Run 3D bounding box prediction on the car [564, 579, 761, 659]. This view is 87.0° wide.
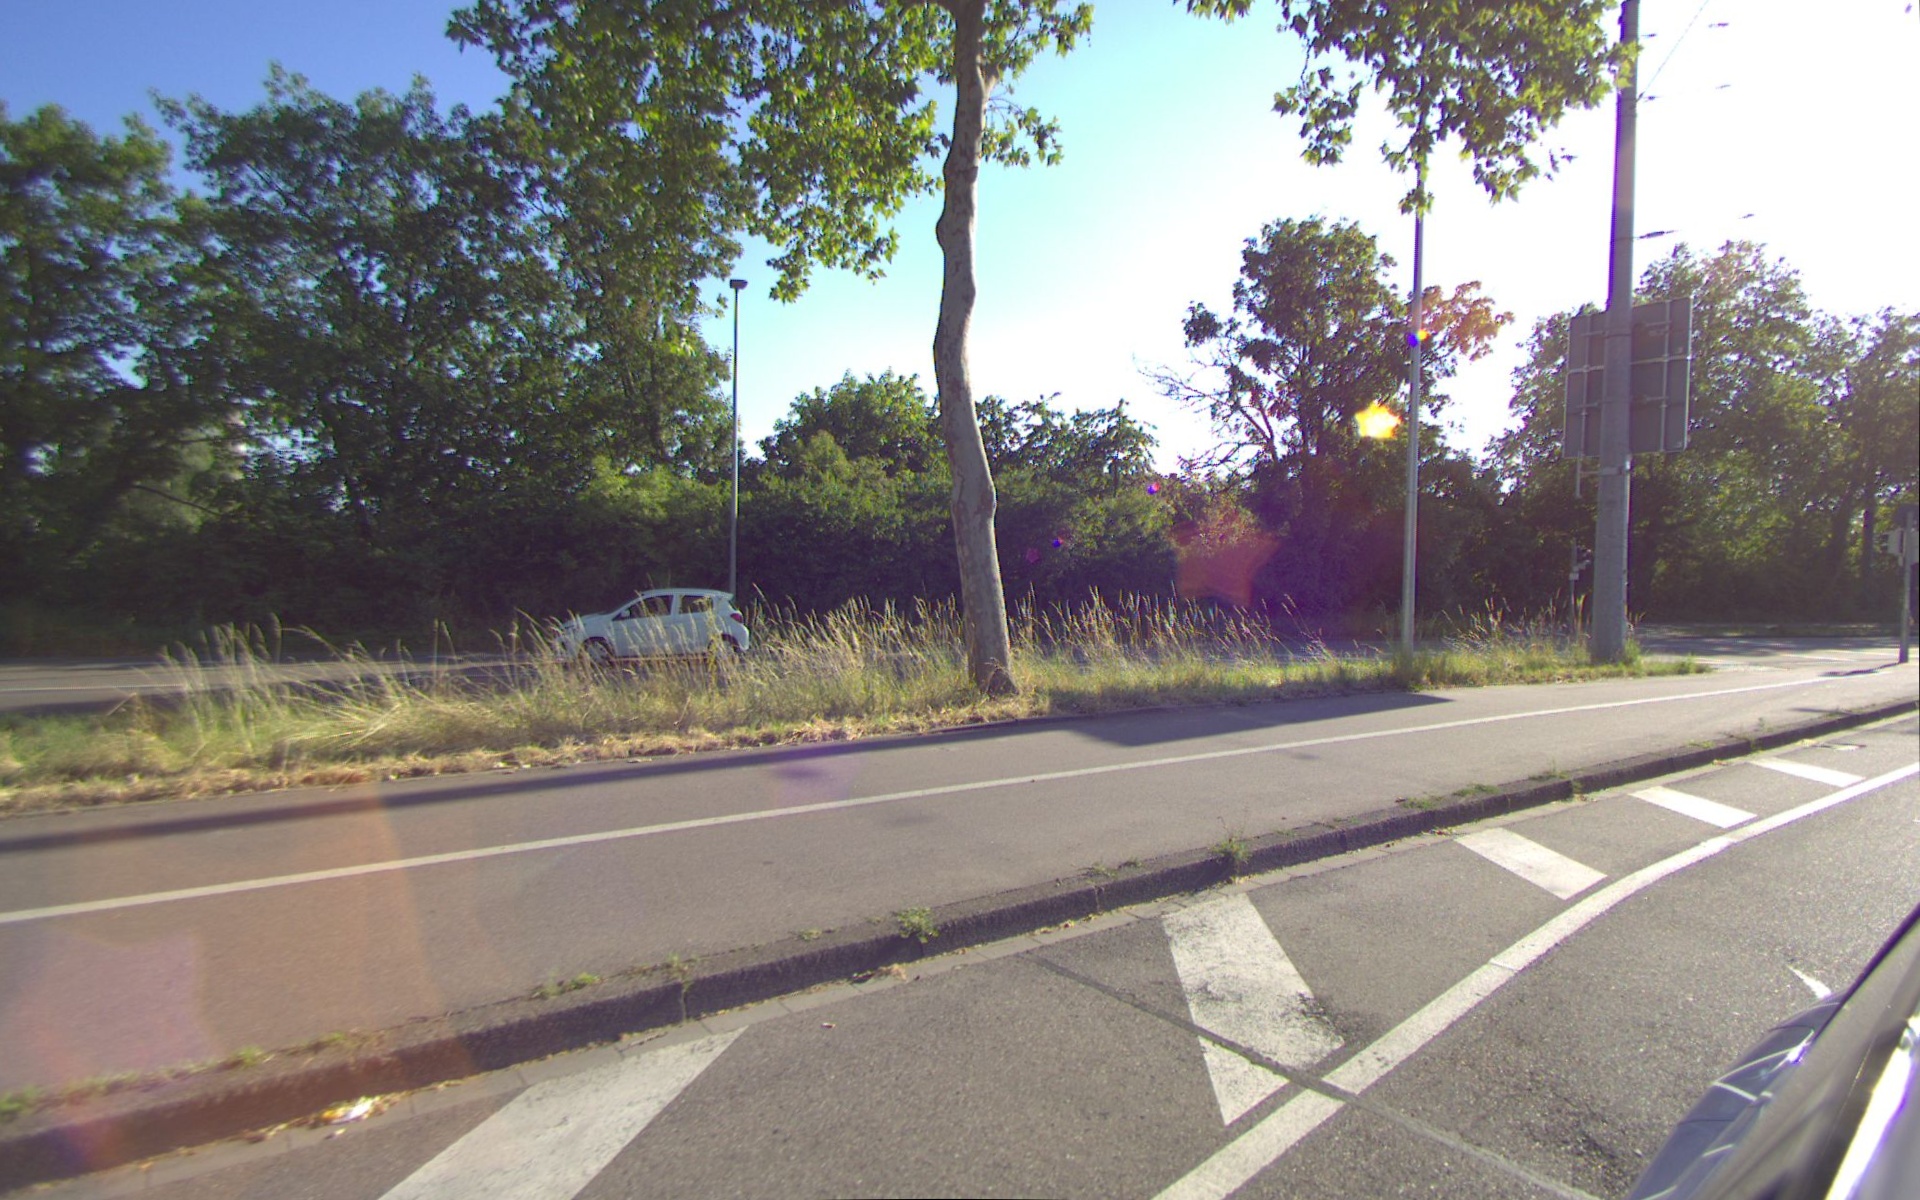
[{"bbox_3d":[-6.019,0.361,20.433,3.665,1.492,1.676,1,1,-21],"label":"car"}]
